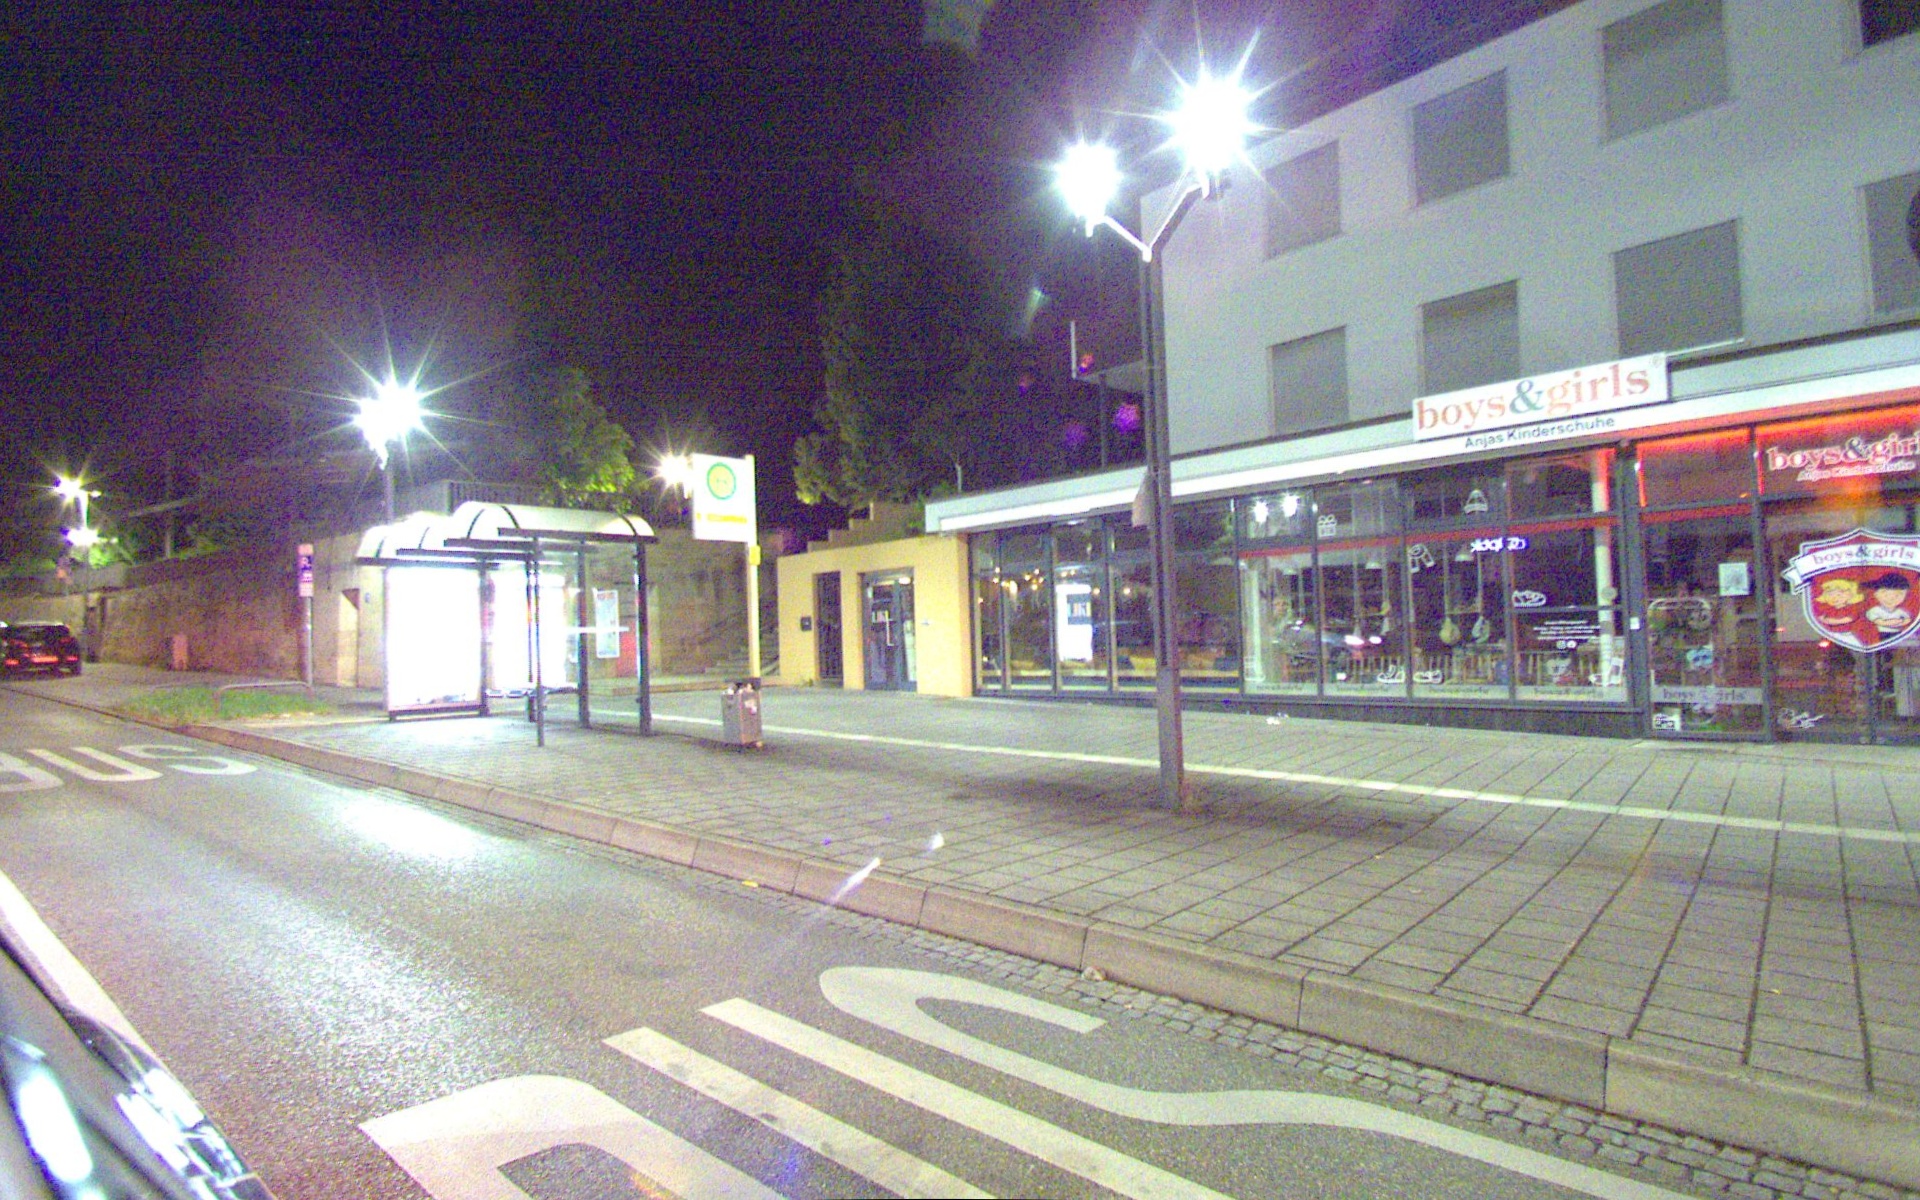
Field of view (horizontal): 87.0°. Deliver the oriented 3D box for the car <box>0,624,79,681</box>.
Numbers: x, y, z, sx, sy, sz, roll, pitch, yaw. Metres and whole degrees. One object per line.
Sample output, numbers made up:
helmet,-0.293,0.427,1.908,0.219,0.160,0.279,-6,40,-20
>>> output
car,-26.588,1.432,28.709,4.123,1.447,1.675,-1,0,39
